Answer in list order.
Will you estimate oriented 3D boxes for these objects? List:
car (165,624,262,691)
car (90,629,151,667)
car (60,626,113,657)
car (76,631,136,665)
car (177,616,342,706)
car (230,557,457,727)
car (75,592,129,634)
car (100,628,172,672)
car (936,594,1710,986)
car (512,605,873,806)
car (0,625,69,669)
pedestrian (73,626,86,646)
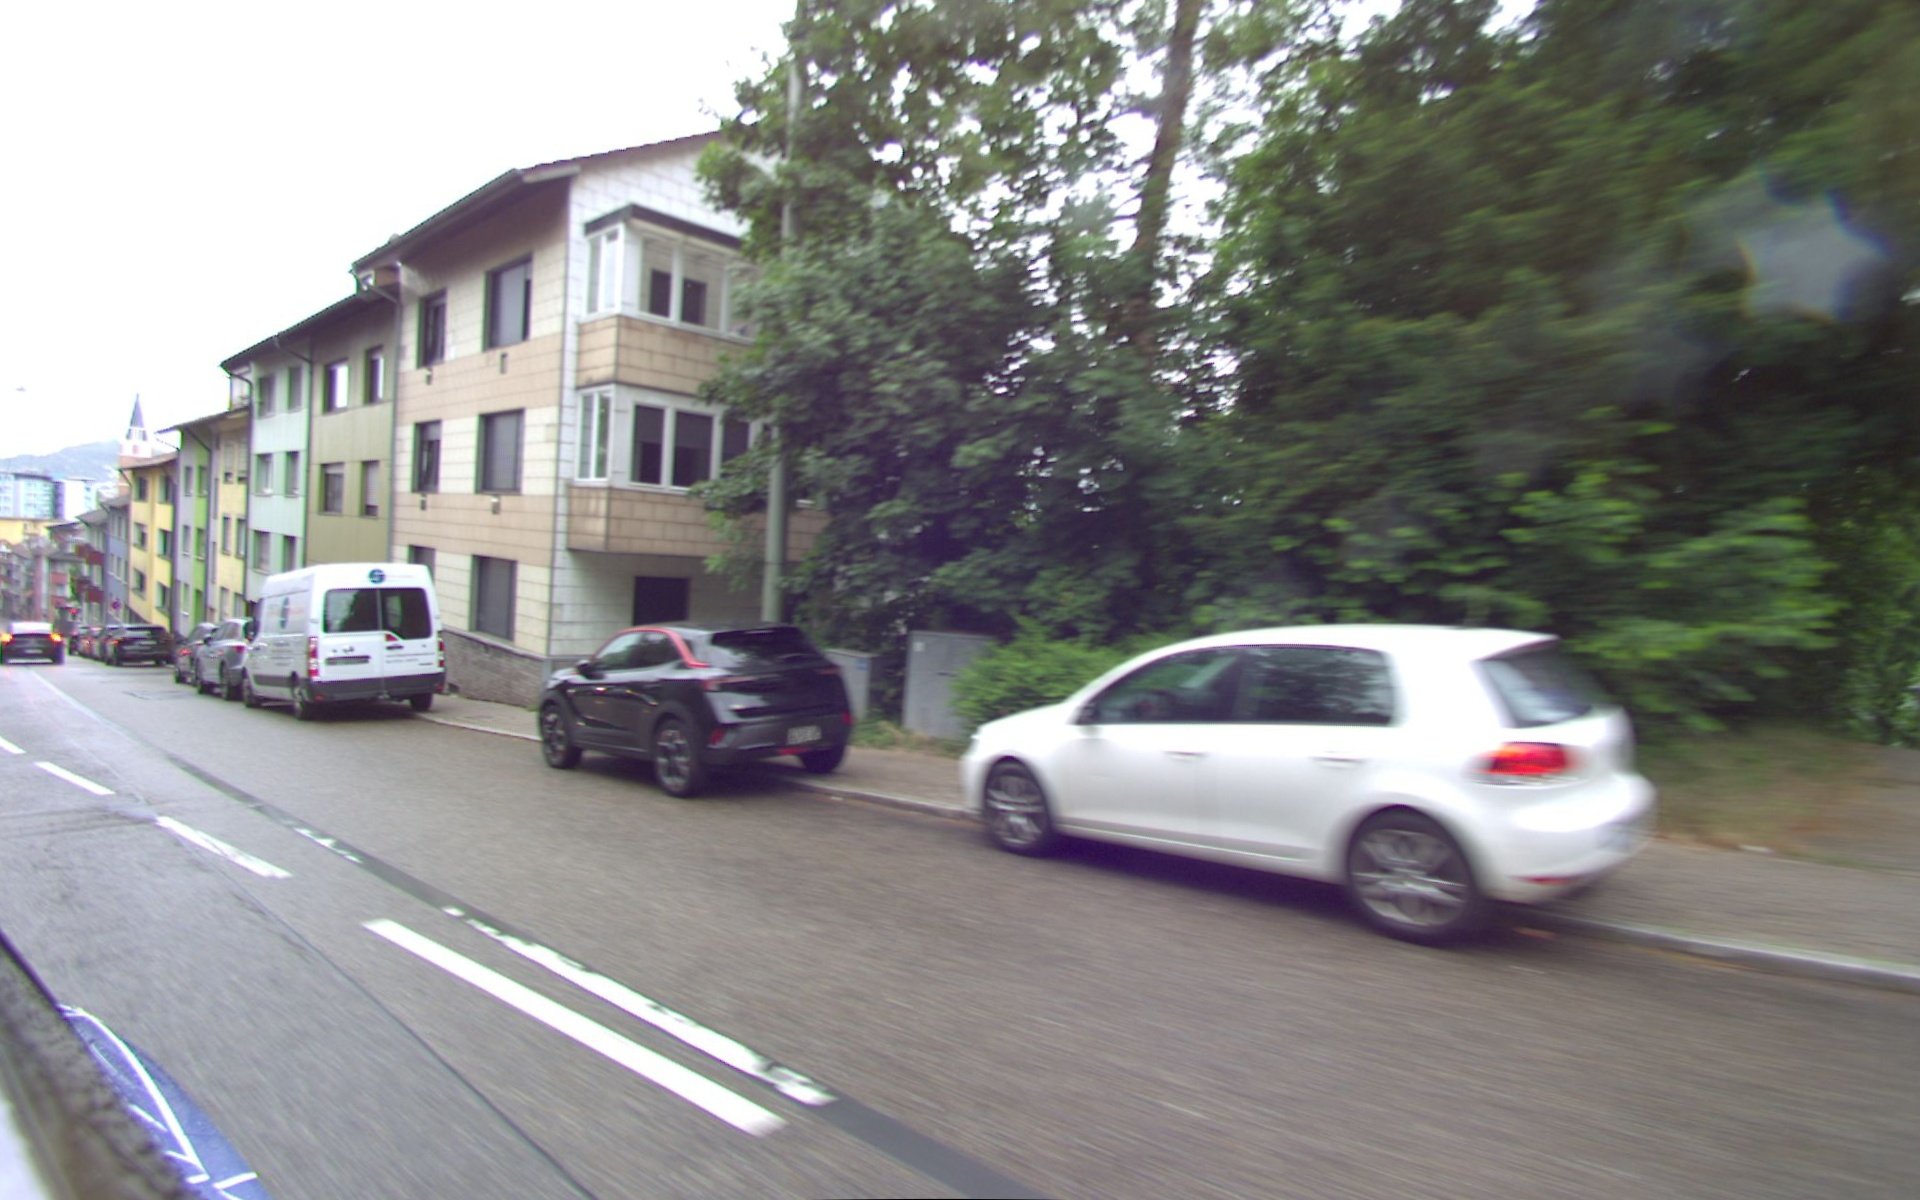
[{"bbox_3d":[-19.779,1.472,26.746,1.395,1.627,4.385,4,-4,-45],"label":"car"},{"bbox_3d":[-37.136,2.091,44.753,1.664,1.606,4.057,3,-3,-45],"label":"car"},{"bbox_3d":[-48.926,2.324,56.647,1.882,1.669,4.330,3,-3,-45],"label":"car"},{"bbox_3d":[-42.055,2.345,49.827,1.882,1.548,4.002,3,-3,-45],"label":"car"},{"bbox_3d":[-15.499,1.298,22.274,4.885,1.753,1.944,-2,-4,43],"label":"car"},{"bbox_3d":[-11.070,0.740,17.970,5.446,2.570,2.093,-2,-4,45],"label":"car"},{"bbox_3d":[-55.584,0.884,65.546,5.446,2.570,2.093,-2,-4,45],"label":"car"},{"bbox_3d":[-31.996,1.910,39.280,4.001,1.606,1.673,-2,-3,44],"label":"car"},{"bbox_3d":[1.860,0.842,6.182,1.637,1.581,4.151,2,-3,-44],"label":"car"},{"bbox_3d":[-2.863,0.938,10.238,1.625,1.616,4.188,5,-4,-44],"label":"car"},{"bbox_3d":[-36.745,1.830,40.068,1.914,1.637,4.502,2,-3,-44],"label":"car"},{"bbox_3d":[-72.584,2.945,83.400,0.794,1.630,0.456,0,-2,-44],"label":"pedestrian"}]
